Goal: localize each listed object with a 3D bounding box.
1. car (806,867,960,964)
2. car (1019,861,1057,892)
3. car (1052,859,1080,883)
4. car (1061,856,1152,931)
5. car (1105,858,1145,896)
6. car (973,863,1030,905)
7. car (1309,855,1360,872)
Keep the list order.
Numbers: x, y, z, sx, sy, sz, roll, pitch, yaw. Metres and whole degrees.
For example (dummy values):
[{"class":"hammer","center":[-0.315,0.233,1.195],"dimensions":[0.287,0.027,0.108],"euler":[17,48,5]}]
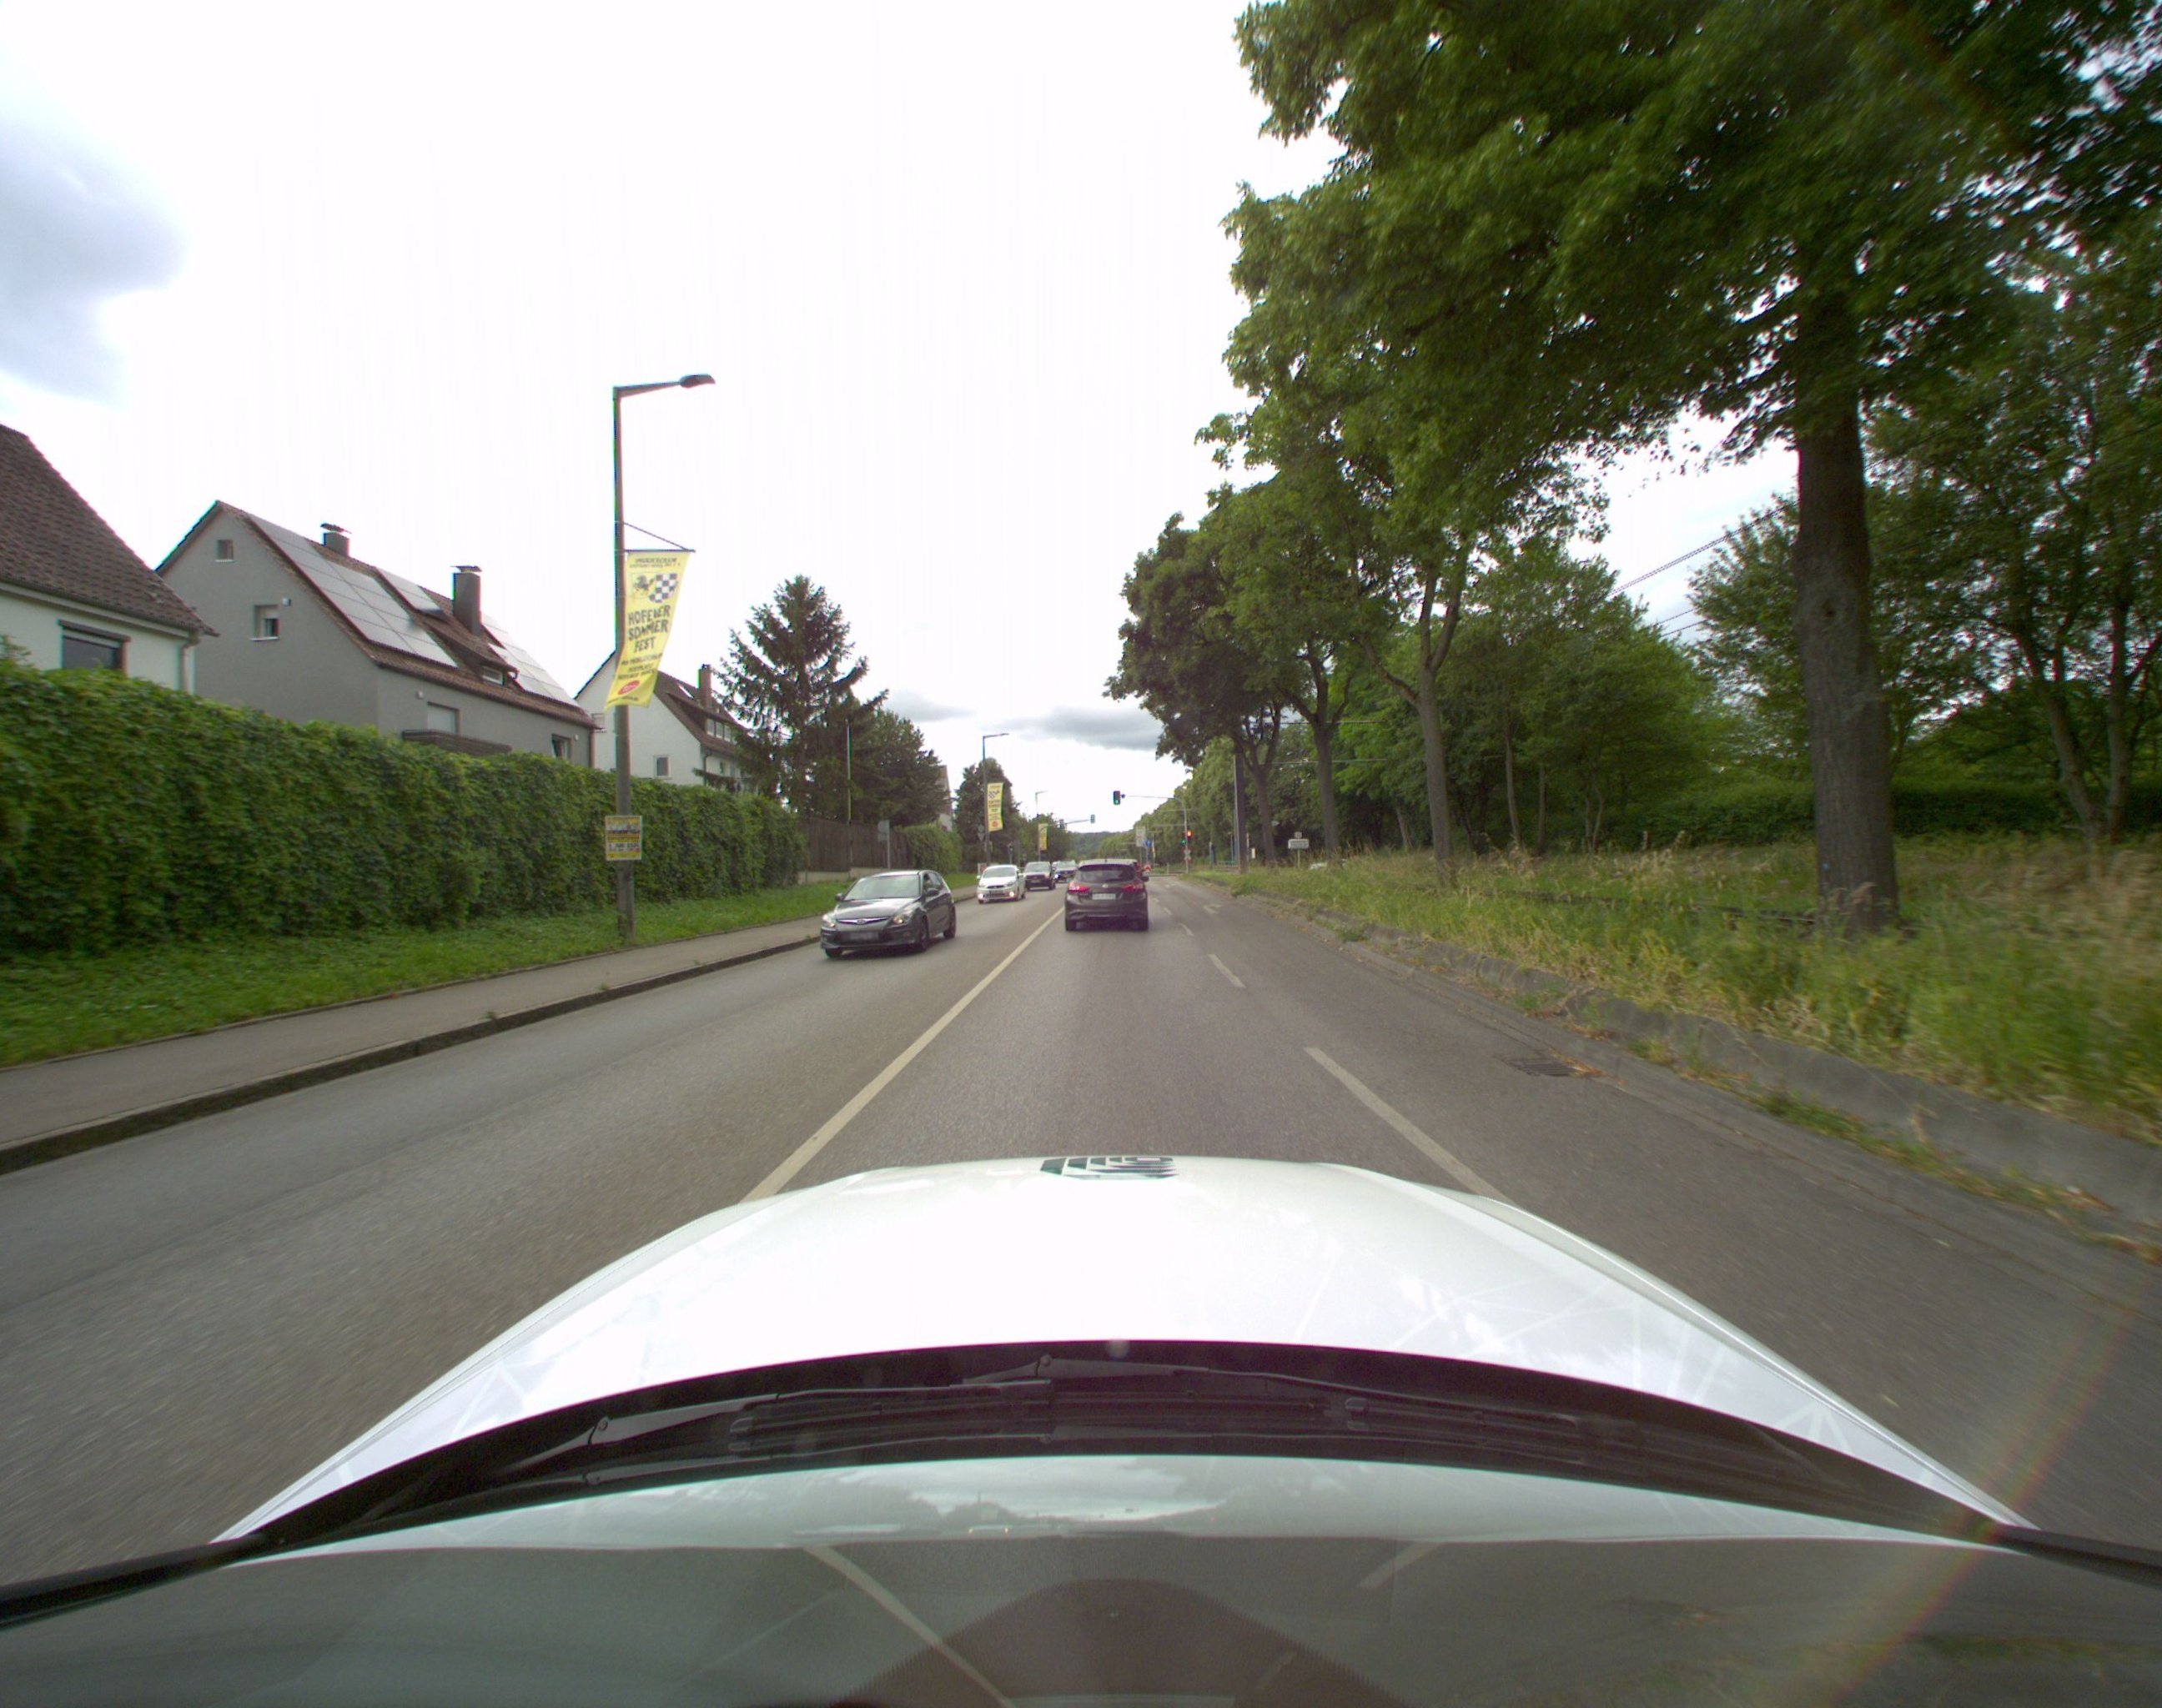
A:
[{"class":"car","center":[-3.594,1.049,15.585],"dimensions":[1.721,1.464,4.155],"euler":[-3,0,2]},{"class":"car","center":[-2.286,1.169,43.828],"dimensions":[1.637,1.481,4.108],"euler":[-4,0,1]},{"class":"car","center":[-1.022,1.172,57.976],"dimensions":[1.806,1.524,4.177],"euler":[-4,-1,1]},{"class":"car","center":[0.620,0.813,18.765],"dimensions":[1.828,1.519,4.485],"euler":[0,0,3]},{"class":"car","center":[1.883,0.943,35.034],"dimensions":[1.532,1.478,3.766],"euler":[-3,0,3]},{"class":"car","center":[-3.229,1.184,33.855],"dimensions":[1.611,1.461,4.075],"euler":[-5,-1,3]},{"class":"car","center":[23.247,0.857,74.790],"dimensions":[3.978,1.354,1.998],"euler":[2,-1,-3]}]
